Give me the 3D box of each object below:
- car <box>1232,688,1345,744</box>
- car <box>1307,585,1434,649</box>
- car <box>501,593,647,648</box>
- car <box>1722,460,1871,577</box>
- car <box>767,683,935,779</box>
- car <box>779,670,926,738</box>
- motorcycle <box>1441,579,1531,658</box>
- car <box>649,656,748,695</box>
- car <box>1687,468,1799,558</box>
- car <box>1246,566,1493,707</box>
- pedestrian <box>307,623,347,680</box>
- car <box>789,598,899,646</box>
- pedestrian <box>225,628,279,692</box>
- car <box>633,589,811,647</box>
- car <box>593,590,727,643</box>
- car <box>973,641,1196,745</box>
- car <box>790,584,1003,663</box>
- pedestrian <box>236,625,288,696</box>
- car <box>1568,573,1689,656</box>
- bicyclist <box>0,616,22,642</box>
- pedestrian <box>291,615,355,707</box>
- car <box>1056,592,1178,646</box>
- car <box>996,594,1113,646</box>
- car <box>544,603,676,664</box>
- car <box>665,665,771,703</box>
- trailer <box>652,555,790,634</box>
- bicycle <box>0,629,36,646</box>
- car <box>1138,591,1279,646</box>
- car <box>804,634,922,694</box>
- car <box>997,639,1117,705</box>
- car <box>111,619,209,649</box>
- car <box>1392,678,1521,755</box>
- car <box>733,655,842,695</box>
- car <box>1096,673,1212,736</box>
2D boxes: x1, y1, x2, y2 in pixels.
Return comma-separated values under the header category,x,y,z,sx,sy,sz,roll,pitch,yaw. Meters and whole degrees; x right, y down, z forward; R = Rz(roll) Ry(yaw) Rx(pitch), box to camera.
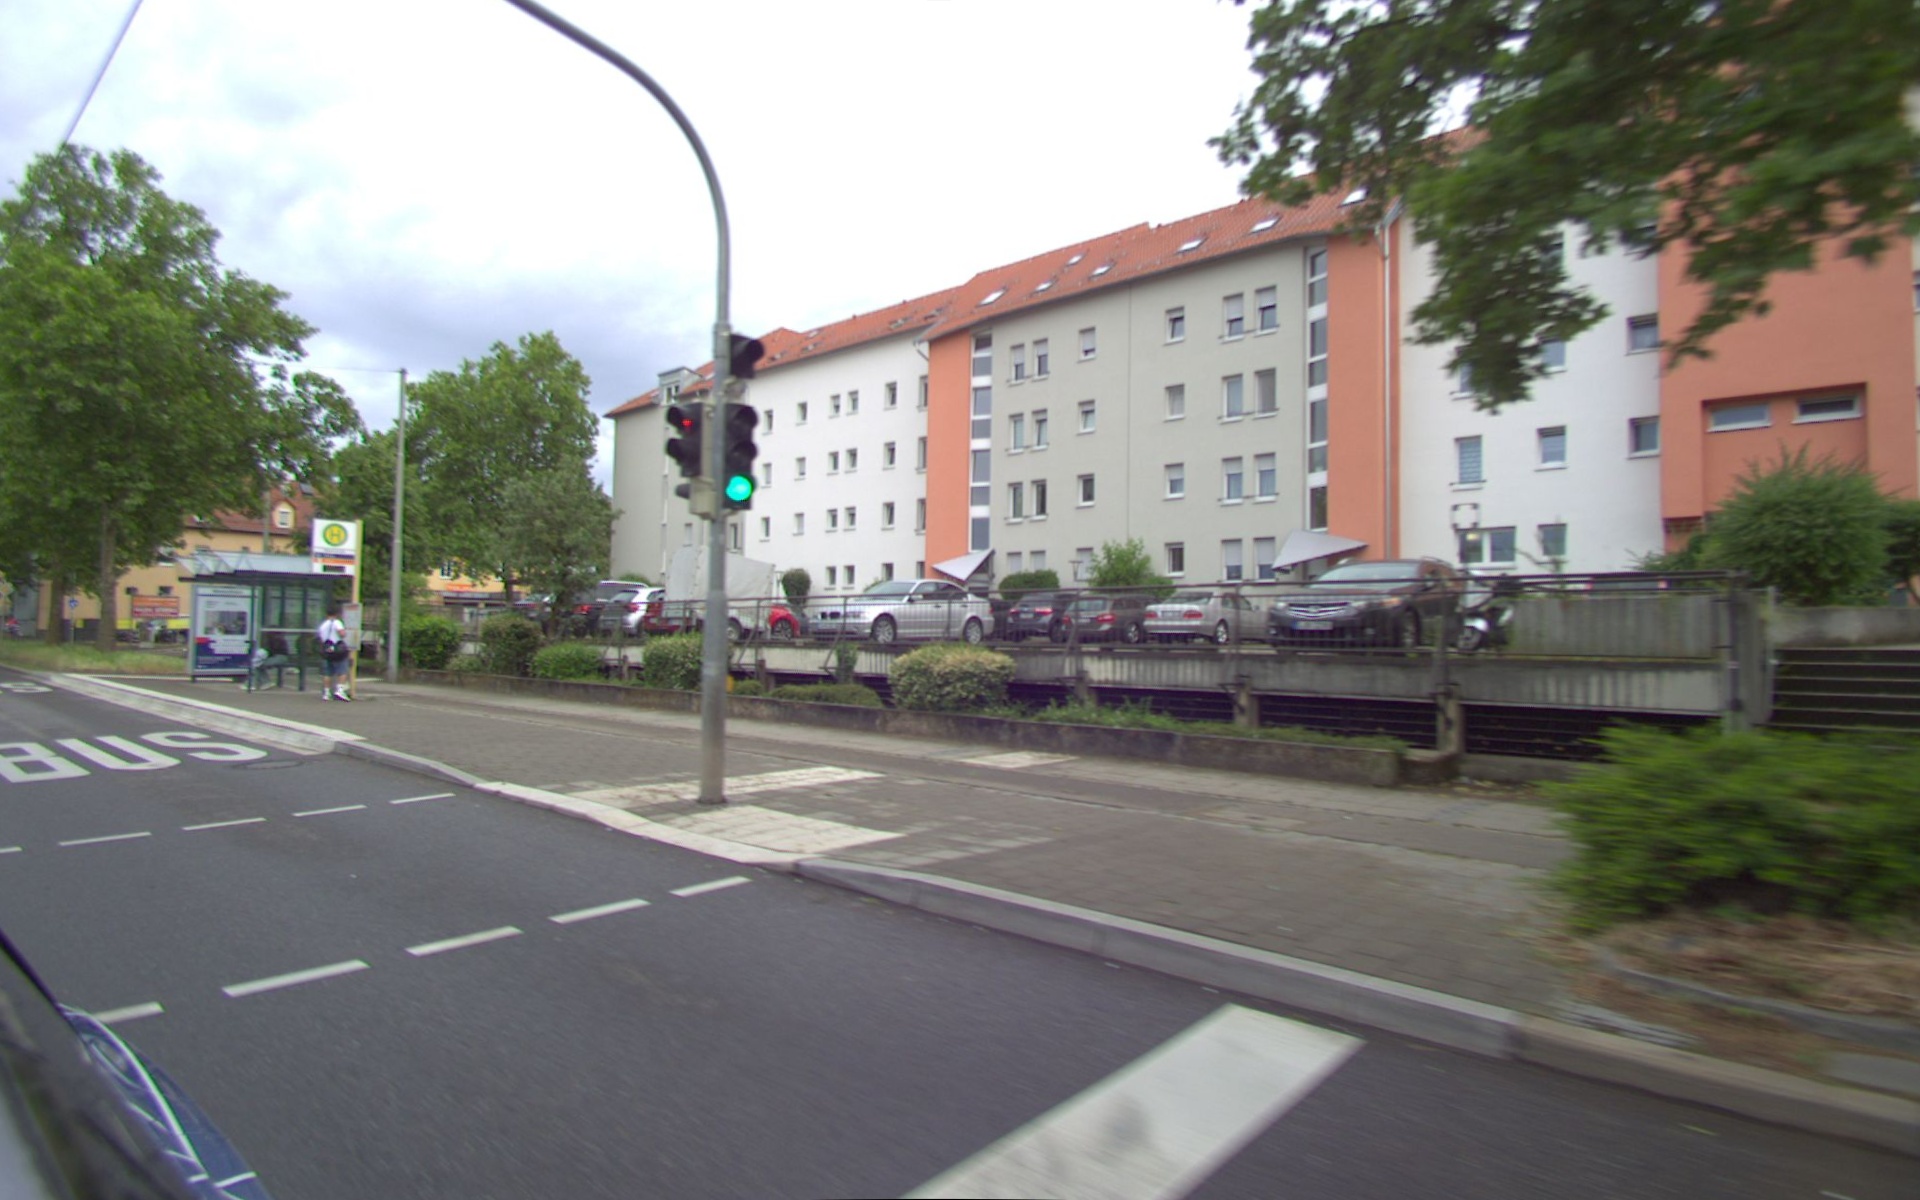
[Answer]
category,x,y,z,sx,sy,sz,roll,pitch,yaw
car,8.185,2.830,25.077,3.161,1.091,1.378,2,-2,-45
car,9.883,0.425,24.265,1.718,1.399,3.479,-1,-2,42
car,-11.415,0.567,30.111,1.894,1.509,3.619,1,0,37
car,13.753,-1.230,16.734,1.717,1.613,3.772,1,0,39
car,-2.329,2.781,22.226,1.704,1.710,3.473,-1,-2,40
car,-2.816,2.724,27.174,1.589,1.415,3.928,1,0,40
motorcycle,6.642,0.214,12.731,0.568,0.920,1.931,1,0,41
car,-11.481,3.299,44.655,1.685,1.518,3.943,-1,-2,43
car,16.540,-1.747,21.375,1.717,1.523,3.772,1,0,39
car,5.984,0.438,14.460,1.998,1.684,4.499,1,0,40
pedestrian,-18.850,1.521,30.157,0.833,1.623,0.748,1,0,36
car,-4.445,0.857,39.125,2.000,1.763,3.848,-1,-2,43
pedestrian,-15.254,1.299,21.811,0.641,1.327,0.766,1,-3,44
car,-5.845,0.418,25.228,1.809,1.312,4.046,1,0,40
car,-7.794,0.403,26.466,1.436,1.279,3.098,1,0,40
car,2.316,1.529,17.937,1.859,1.435,4.311,1,0,40
car,-1.187,0.429,20.648,1.859,1.435,4.311,1,0,40
pedestrian,-14.688,1.270,21.299,0.641,1.429,0.680,1,-4,44
car,13.708,0.262,20.664,1.717,1.523,3.772,1,0,39
bicyclist,-59.098,1.797,62.950,0.803,1.564,0.838,1,0,-16
pedestrian,-11.625,1.108,18.475,0.607,1.610,0.733,1,-5,44
car,4.415,0.500,28.200,1.718,1.415,3.480,1,0,42
car,2.852,0.563,30.079,1.718,1.415,3.480,1,0,42
car,-9.516,0.874,27.655,1.436,1.554,3.098,1,0,40
car,-10.374,3.581,43.540,2.065,1.407,3.943,-1,-2,43
trailer,-5.349,-0.106,22.783,1.479,1.658,2.676,0,-1,41
bicycle,-59.026,2.324,63.008,2.227,1.003,0.558,1,0,-16
car,6.517,0.472,26.315,1.797,1.305,3.942,-1,-1,44
car,-3.475,2.263,36.761,2.000,2.029,3.943,-1,-2,43
car,3.241,2.316,33.320,1.943,2.029,3.863,-1,-3,44
car,-46.606,1.948,58.993,1.980,1.550,4.166,1,1,39
car,11.272,2.560,22.886,1.718,1.415,3.479,-1,-2,42
car,-6.777,2.934,40.114,1.887,1.407,3.943,-1,-2,43
car,5.626,2.938,29.095,1.718,1.415,3.480,1,0,42
